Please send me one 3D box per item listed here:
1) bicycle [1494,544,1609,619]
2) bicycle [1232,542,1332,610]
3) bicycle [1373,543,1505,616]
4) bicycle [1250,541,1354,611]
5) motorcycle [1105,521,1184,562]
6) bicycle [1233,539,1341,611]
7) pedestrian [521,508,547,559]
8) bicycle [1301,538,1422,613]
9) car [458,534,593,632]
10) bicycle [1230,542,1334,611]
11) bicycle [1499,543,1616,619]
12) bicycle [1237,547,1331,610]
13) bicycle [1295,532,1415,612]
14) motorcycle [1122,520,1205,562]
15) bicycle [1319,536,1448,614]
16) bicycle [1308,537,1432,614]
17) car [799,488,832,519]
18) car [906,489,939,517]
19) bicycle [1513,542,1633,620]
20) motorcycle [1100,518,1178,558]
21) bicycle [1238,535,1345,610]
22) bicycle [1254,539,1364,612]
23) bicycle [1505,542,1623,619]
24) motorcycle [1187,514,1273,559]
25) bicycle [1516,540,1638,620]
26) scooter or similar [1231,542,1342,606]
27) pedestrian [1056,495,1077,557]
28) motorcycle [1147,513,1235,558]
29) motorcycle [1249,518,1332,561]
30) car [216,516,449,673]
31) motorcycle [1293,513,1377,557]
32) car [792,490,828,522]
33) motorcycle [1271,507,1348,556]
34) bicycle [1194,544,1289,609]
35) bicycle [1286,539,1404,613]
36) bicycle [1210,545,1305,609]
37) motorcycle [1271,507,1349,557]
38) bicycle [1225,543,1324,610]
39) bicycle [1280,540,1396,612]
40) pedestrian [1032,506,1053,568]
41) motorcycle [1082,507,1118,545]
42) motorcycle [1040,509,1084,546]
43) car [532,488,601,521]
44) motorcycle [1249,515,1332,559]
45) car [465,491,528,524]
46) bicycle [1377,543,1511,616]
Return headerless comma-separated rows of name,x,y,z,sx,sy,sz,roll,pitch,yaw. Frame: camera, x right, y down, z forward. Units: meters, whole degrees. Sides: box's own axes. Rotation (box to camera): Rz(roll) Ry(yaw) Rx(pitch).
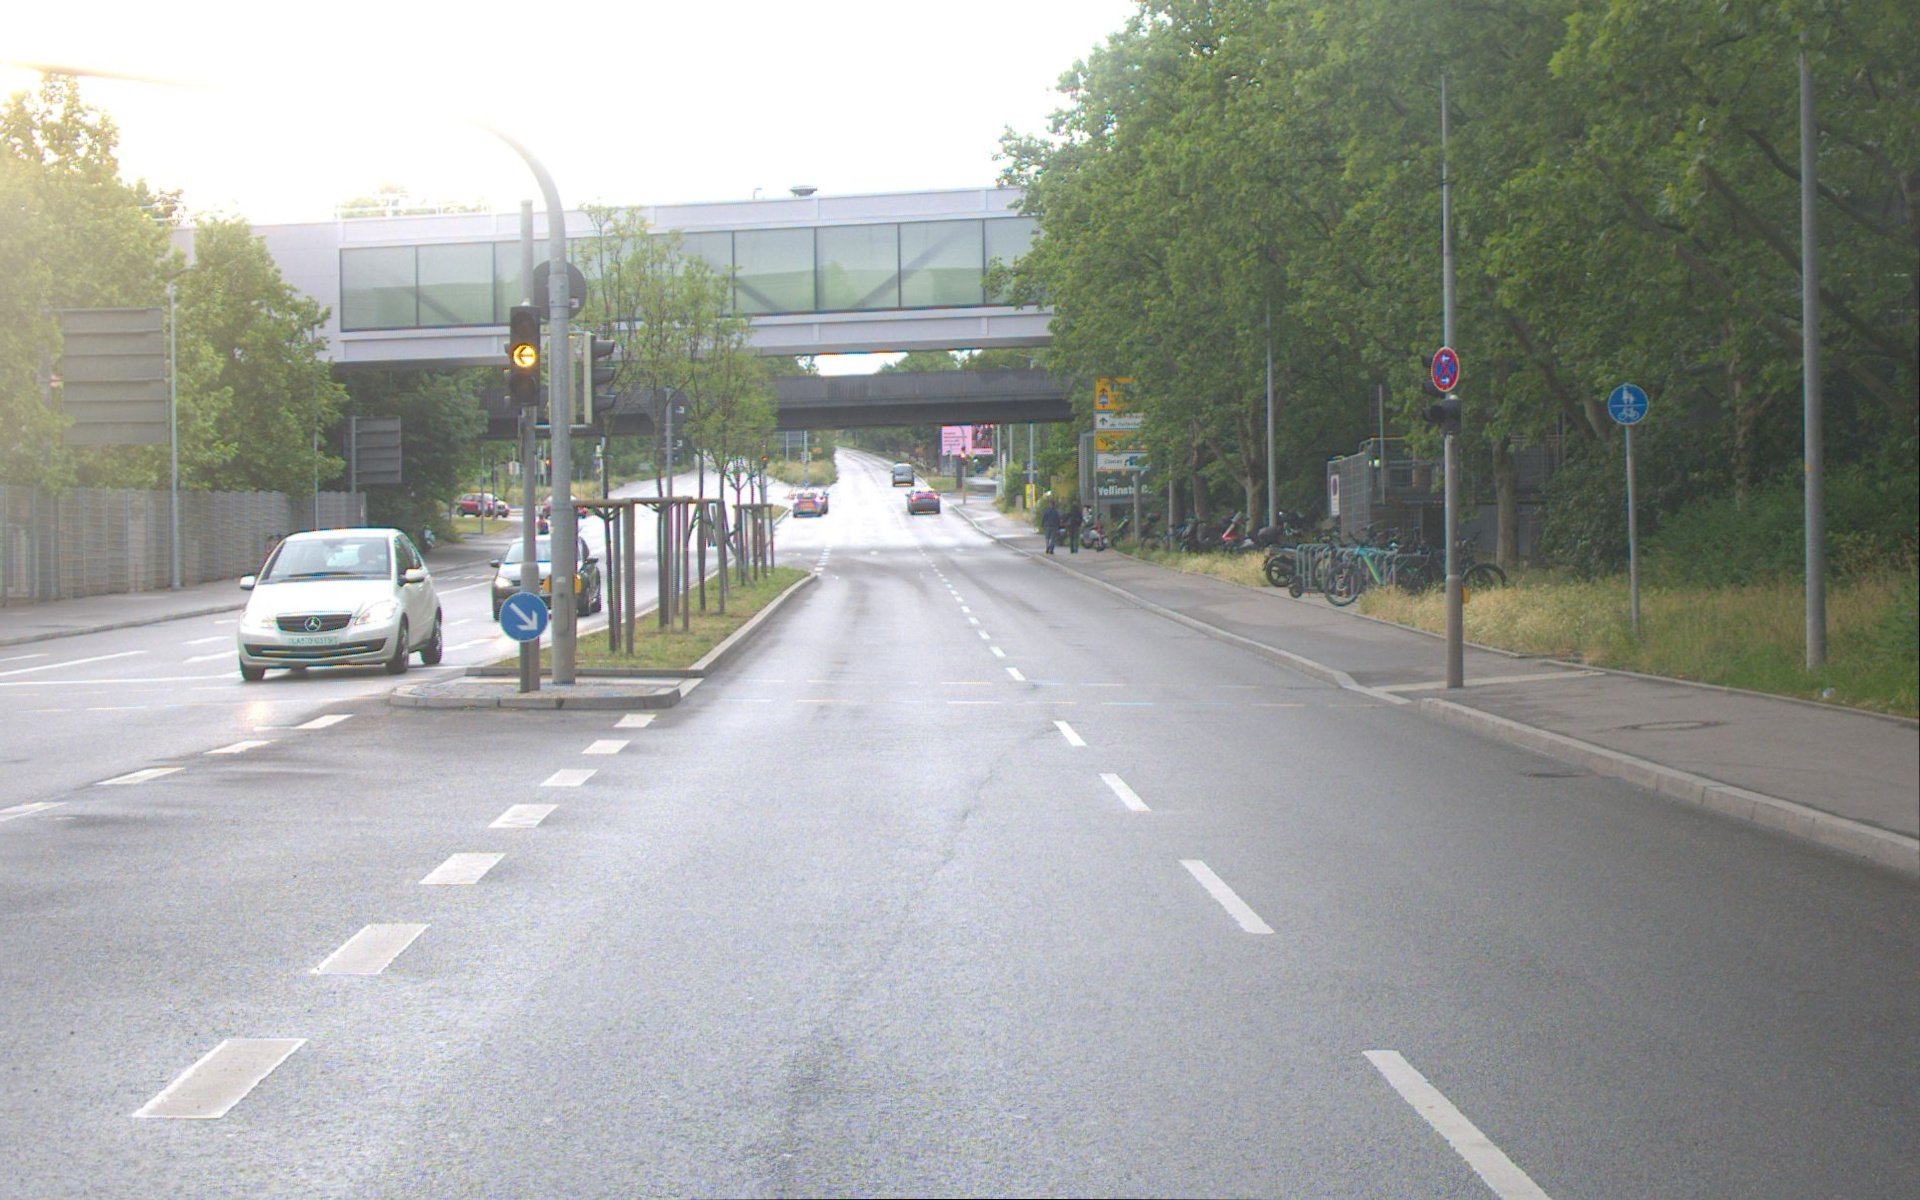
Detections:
bicycle,10.877,-0.344,63.251,1.990,1.324,0.576,2,0,0
bicycle,6.592,-0.487,70.356,1.960,1.324,0.576,2,0,0
bicycle,7.576,-0.321,54.421,1.990,1.091,0.541,2,0,0
bicycle,6.802,-0.478,68.407,1.990,1.324,0.576,2,0,0
motorcycle,5.736,-1.819,106.670,2.369,1.198,0.722,-1,1,7
bicycle,6.259,-0.479,65.876,1.990,1.324,0.576,2,0,0
pedestrian,-16.852,-2.626,135.990,0.872,1.997,0.855,-1,1,2
bicycle,6.926,-0.420,59.321,1.990,1.237,0.541,2,0,0
car,-7.541,-0.320,59.984,1.877,1.619,3.779,-1,1,0
bicycle,6.466,-0.477,69.118,1.990,1.324,0.576,2,0,0
bicycle,10.871,-0.343,62.602,1.990,1.324,0.576,2,0,0
bicycle,7.145,-0.478,75.869,1.963,1.324,0.654,2,0,0
bicycle,6.908,-0.487,60.146,1.990,1.336,0.541,2,0,0
motorcycle,6.018,-1.745,101.529,2.369,1.198,0.722,-1,1,7
bicycle,6.877,-0.404,55.879,1.990,1.212,0.541,2,0,0
bicycle,6.917,-0.414,58.069,1.990,1.229,0.541,2,0,0
car,-8.872,-5.906,211.143,1.884,1.756,3.969,2,0,0
car,-2.196,-5.747,203.015,1.875,1.492,4.068,2,0,0
bicycle,10.905,-0.340,61.173,1.990,1.324,0.576,2,0,0
motorcycle,5.617,-1.955,107.985,2.369,1.198,0.792,-1,1,7
bicycle,6.512,-0.536,67.553,1.990,1.425,0.723,2,0,0
bicycle,6.592,-0.468,65.067,1.990,1.324,0.576,2,0,0
bicycle,10.878,-0.342,61.937,1.990,1.324,0.576,2,0,0
motorcycle,7.605,-1.793,96.789,2.369,1.198,0.722,-1,1,7
bicycle,10.731,-0.344,59.845,1.990,1.324,0.576,2,0,0
scooter or similar,6.069,-0.475,63.953,1.990,1.134,0.541,2,0,0
pedestrian,3.476,-2.407,112.203,0.622,2.007,0.605,-2,1,0
motorcycle,6.412,-1.787,95.313,2.369,1.198,0.722,-1,1,7
motorcycle,9.722,-1.776,101.106,2.369,1.198,0.722,-1,1,7
car,-6.882,-0.097,38.052,1.877,1.619,3.779,-1,1,0
motorcycle,10.783,-1.867,98.922,2.369,1.198,0.722,-1,1,7
car,-8.985,-5.631,206.529,1.993,1.756,4.000,2,0,0
motorcycle,11.001,-2.154,108.261,2.369,1.471,0.722,-1,1,7
bicycle,6.018,-0.507,73.561,1.963,1.324,0.654,2,0,0
bicycle,6.803,-0.425,60.838,1.990,1.237,0.541,2,0,0
bicycle,6.437,-0.496,74.366,1.963,1.324,0.654,2,0,0
motorcycle,10.909,-2.111,107.027,2.369,1.471,0.722,-1,1,7
bicycle,6.498,-0.490,71.046,1.963,1.324,0.654,2,0,0
bicycle,6.788,-0.427,61.787,1.990,1.237,0.541,2,0,0
pedestrian,2.697,-2.068,112.386,0.622,2.007,0.605,-2,1,0
motorcycle,4.946,-2.626,121.986,0.790,1.307,2.377,-2,1,-9
motorcycle,3.712,-2.632,125.377,0.790,1.307,2.377,-2,1,-19
car,-24.852,-6.017,217.043,3.996,2.007,1.995,2,0,38
motorcycle,9.635,-1.837,100.227,2.369,1.198,0.722,-1,1,7
car,-30.092,-6.000,223.209,1.994,2.007,3.998,2,0,-44
bicycle,7.581,-0.321,53.852,1.990,1.091,0.541,2,0,0
